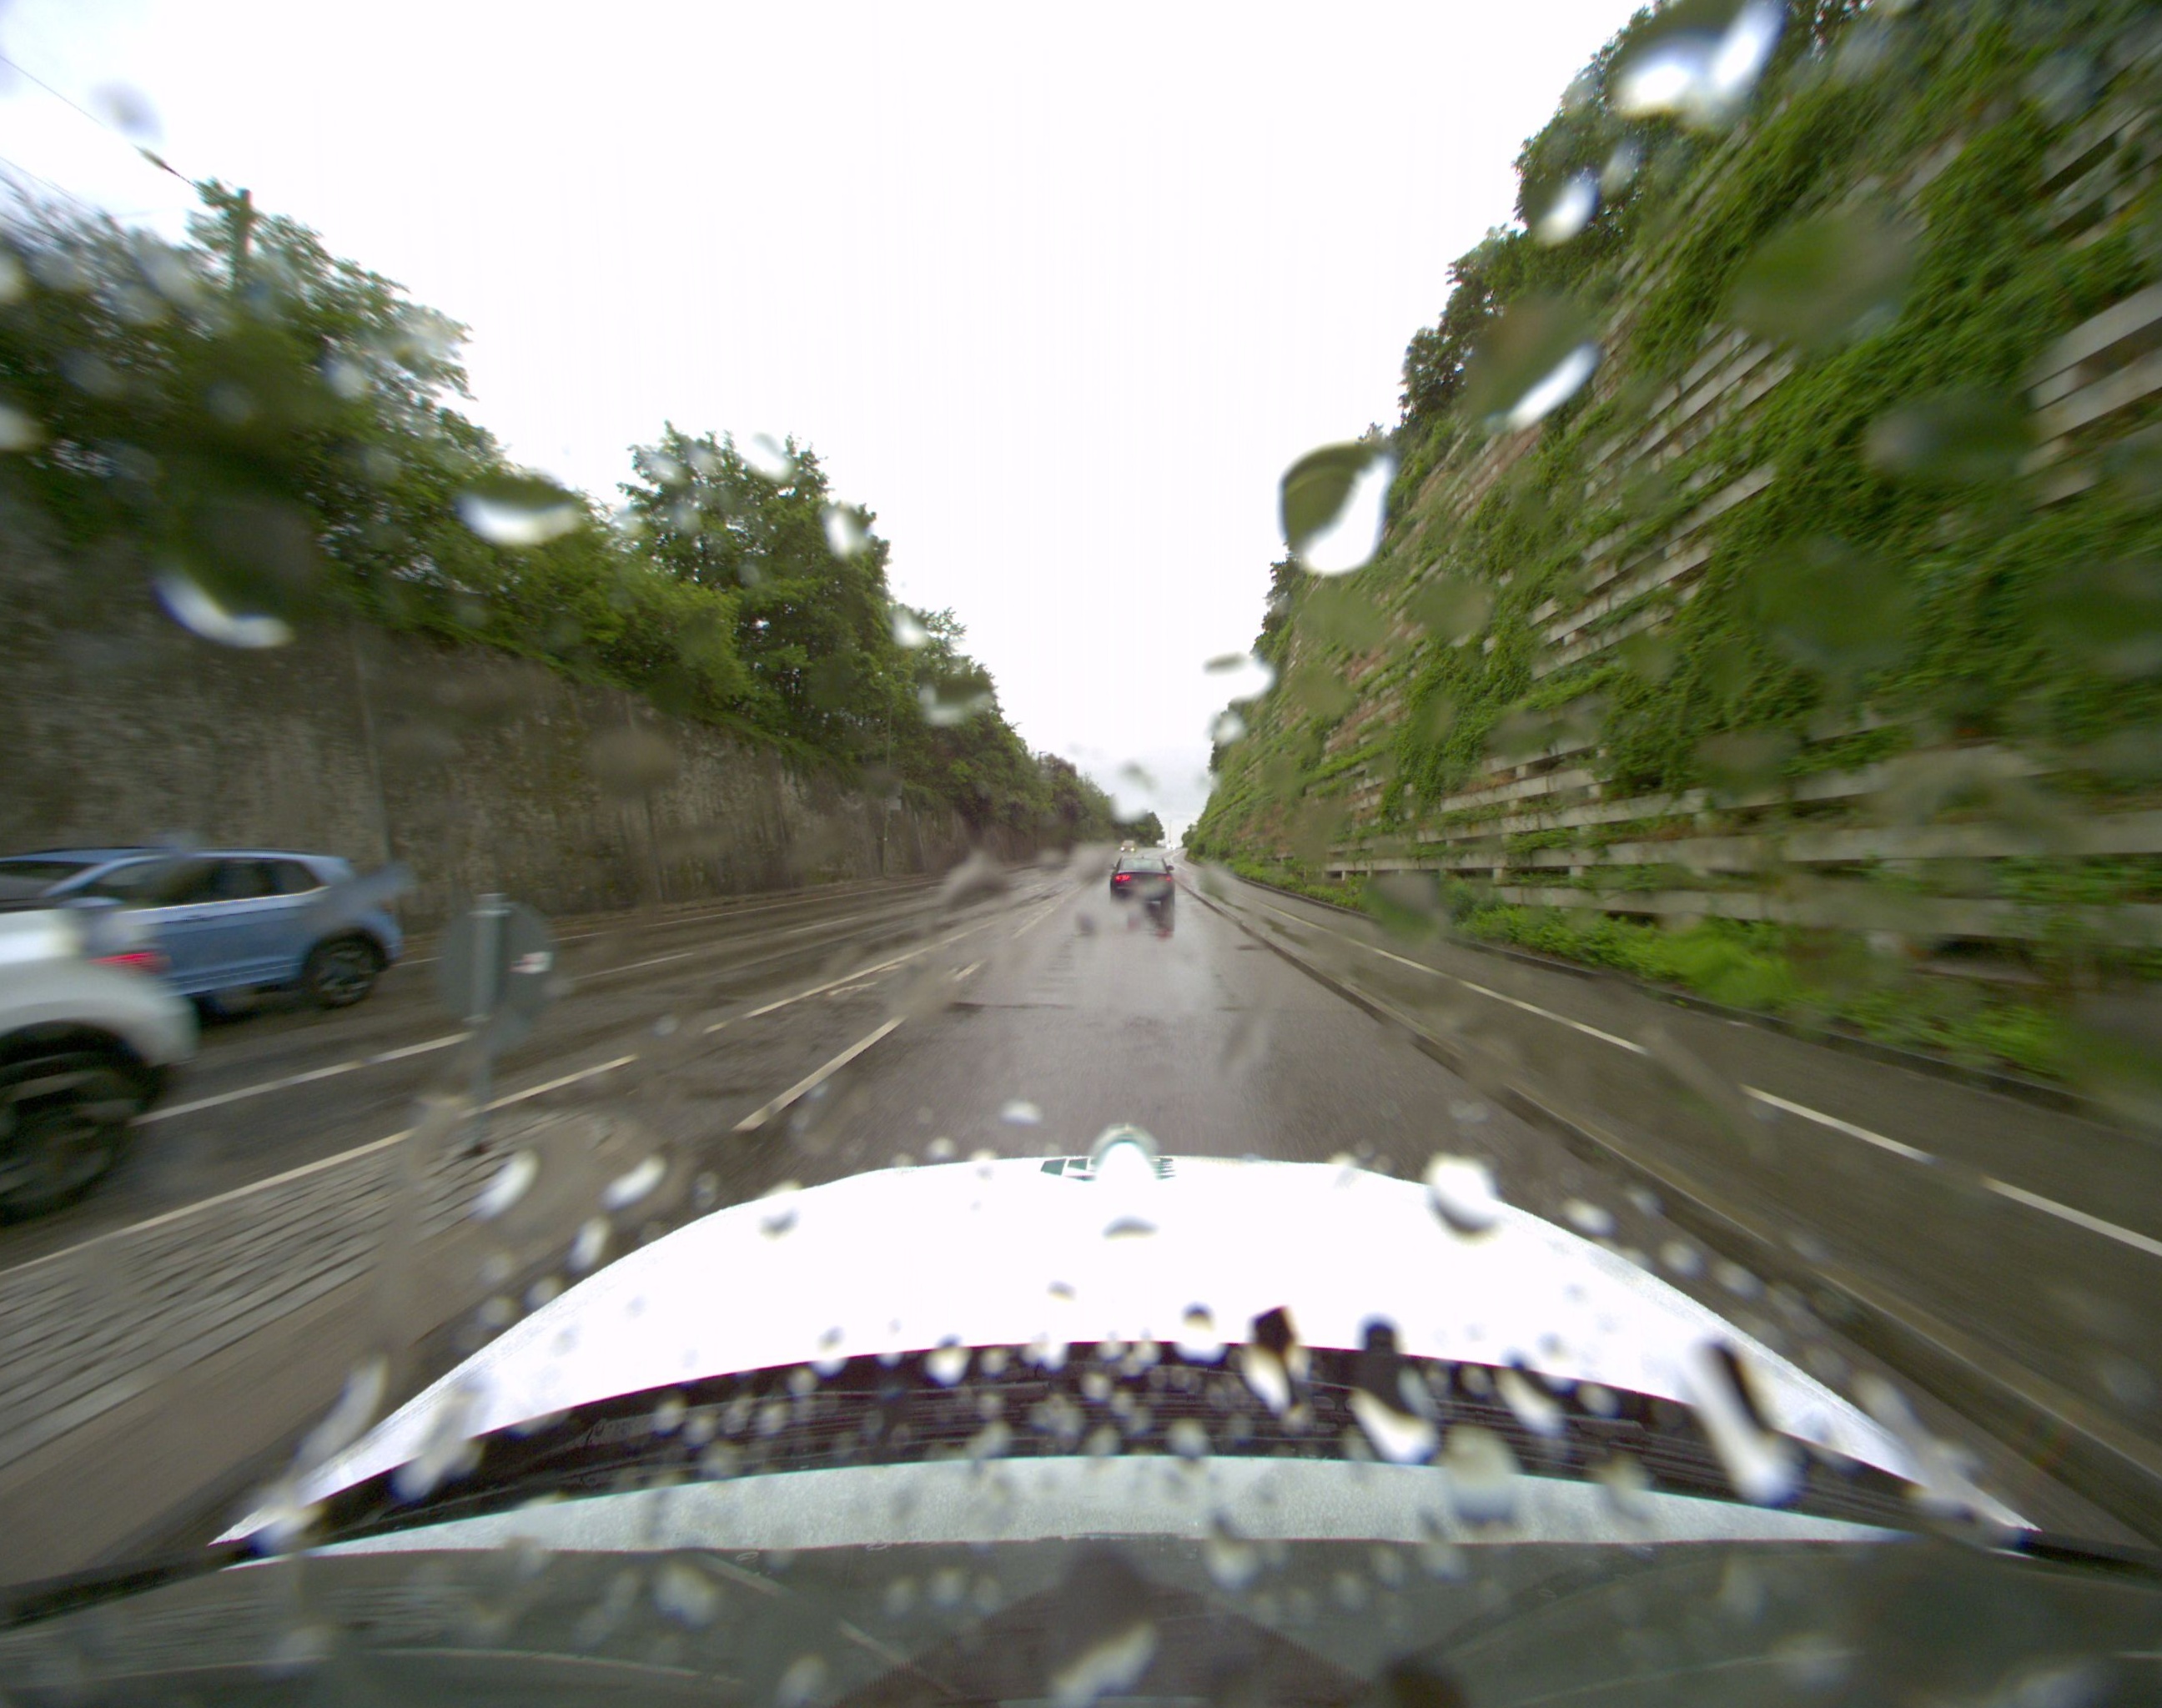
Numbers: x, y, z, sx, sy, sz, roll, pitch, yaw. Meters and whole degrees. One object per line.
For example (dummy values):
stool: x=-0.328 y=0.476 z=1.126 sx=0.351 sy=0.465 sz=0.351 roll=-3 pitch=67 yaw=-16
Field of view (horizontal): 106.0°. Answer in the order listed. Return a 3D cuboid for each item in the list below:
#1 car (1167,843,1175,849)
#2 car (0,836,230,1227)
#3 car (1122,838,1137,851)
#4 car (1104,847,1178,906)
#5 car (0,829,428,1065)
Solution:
car: x=22.293 y=-1.956 z=201.483 sx=1.855 sy=1.448 sz=4.386 roll=1 pitch=2 yaw=6
car: x=-5.524 y=0.758 z=2.255 sx=1.859 sy=1.601 sz=4.008 roll=-2 pitch=0 yaw=7
car: x=6.297 y=-1.239 z=106.311 sx=1.724 sy=1.618 sz=4.008 roll=1 pitch=0 yaw=7
car: x=1.774 y=0.595 z=23.507 sx=1.883 sy=1.492 sz=4.213 roll=-2 pitch=0 yaw=5
car: x=-8.308 y=0.697 z=6.945 sx=1.804 sy=1.657 sz=4.060 roll=-3 pitch=-1 yaw=9
